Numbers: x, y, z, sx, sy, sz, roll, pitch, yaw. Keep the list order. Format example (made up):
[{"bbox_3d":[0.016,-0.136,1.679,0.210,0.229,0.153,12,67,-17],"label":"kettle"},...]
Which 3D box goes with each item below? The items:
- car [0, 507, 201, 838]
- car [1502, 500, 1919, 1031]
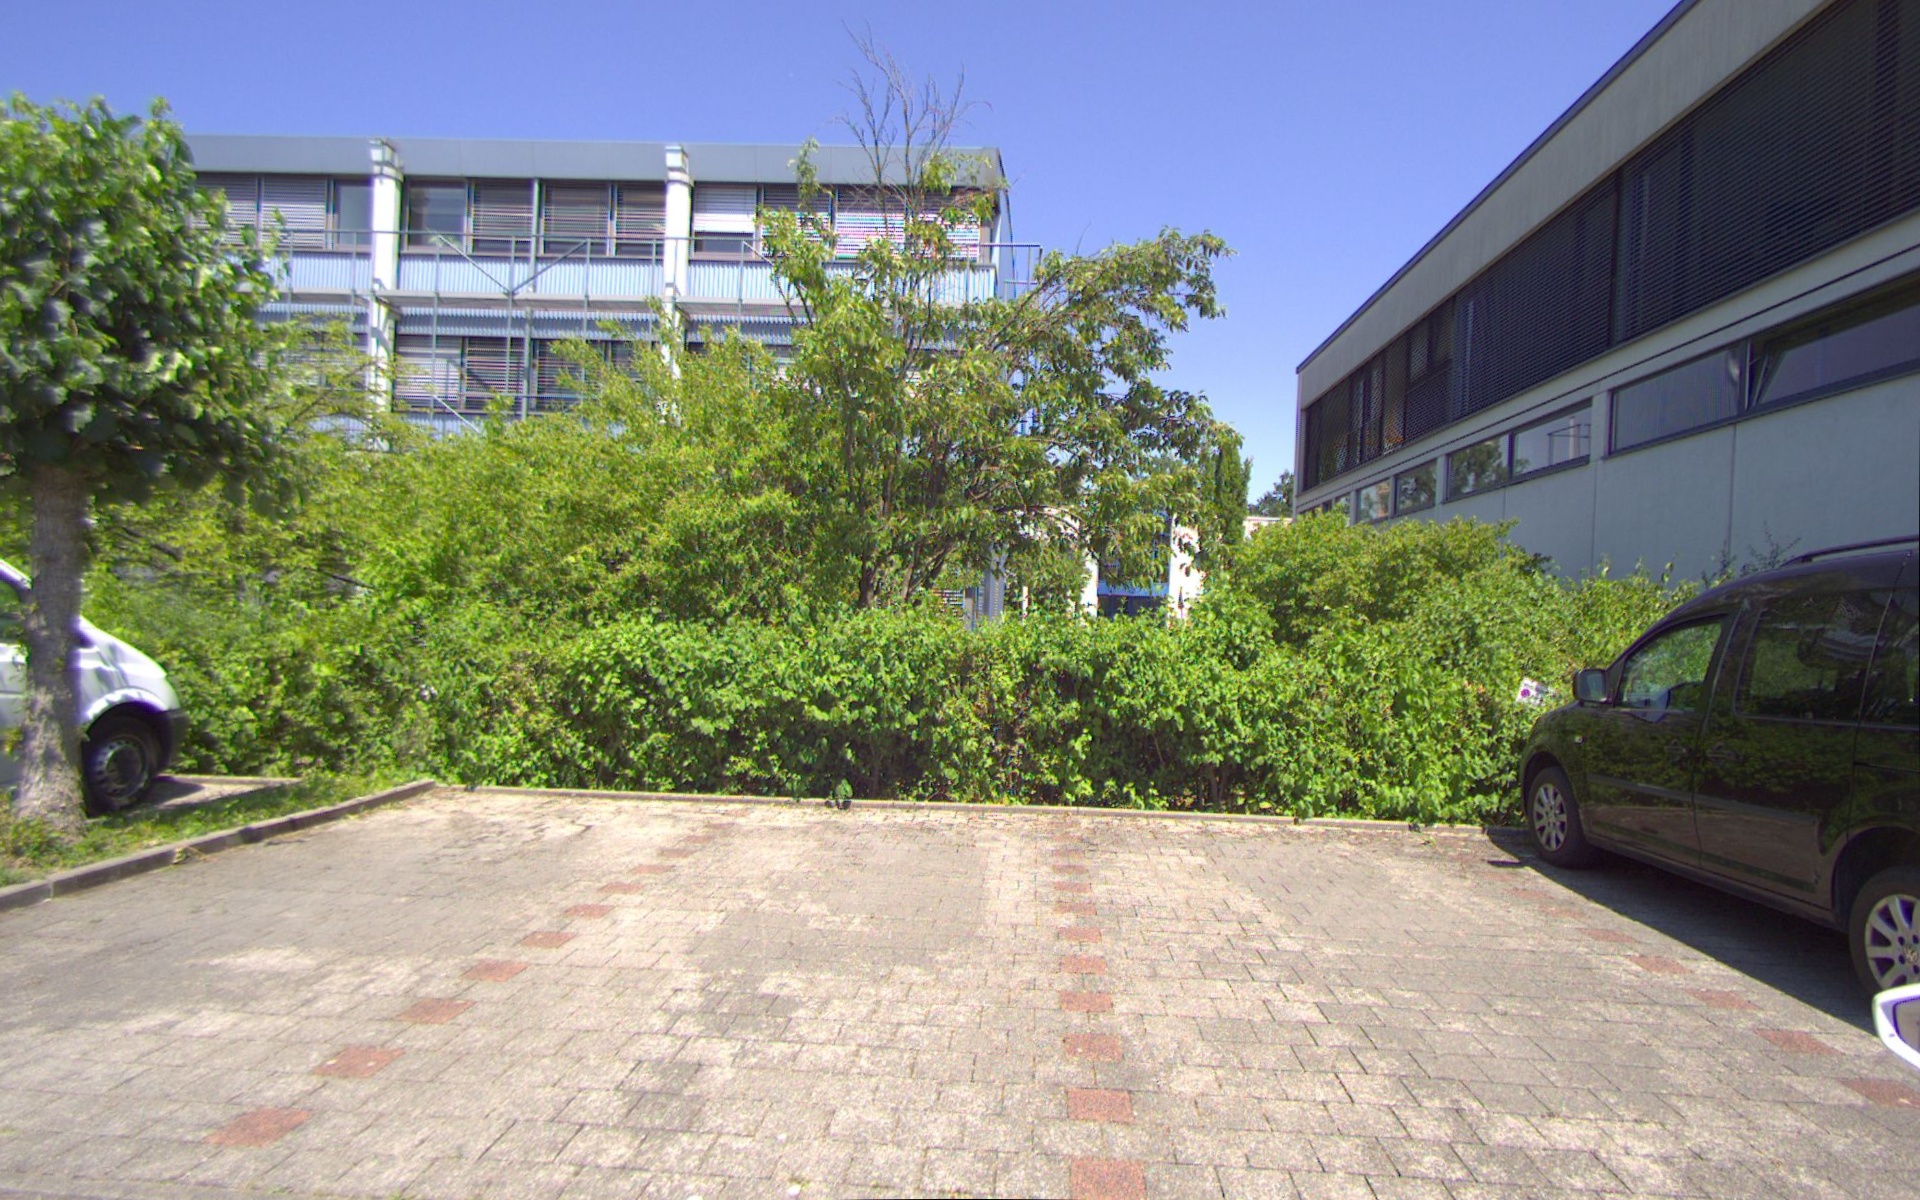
[{"bbox_3d":[-6.532,0.395,4.944,1.793,1.931,4.737,1,-1,3],"label":"car"},{"bbox_3d":[4.390,0.625,4.818,1.645,1.909,4.073,1,-1,5],"label":"car"}]
